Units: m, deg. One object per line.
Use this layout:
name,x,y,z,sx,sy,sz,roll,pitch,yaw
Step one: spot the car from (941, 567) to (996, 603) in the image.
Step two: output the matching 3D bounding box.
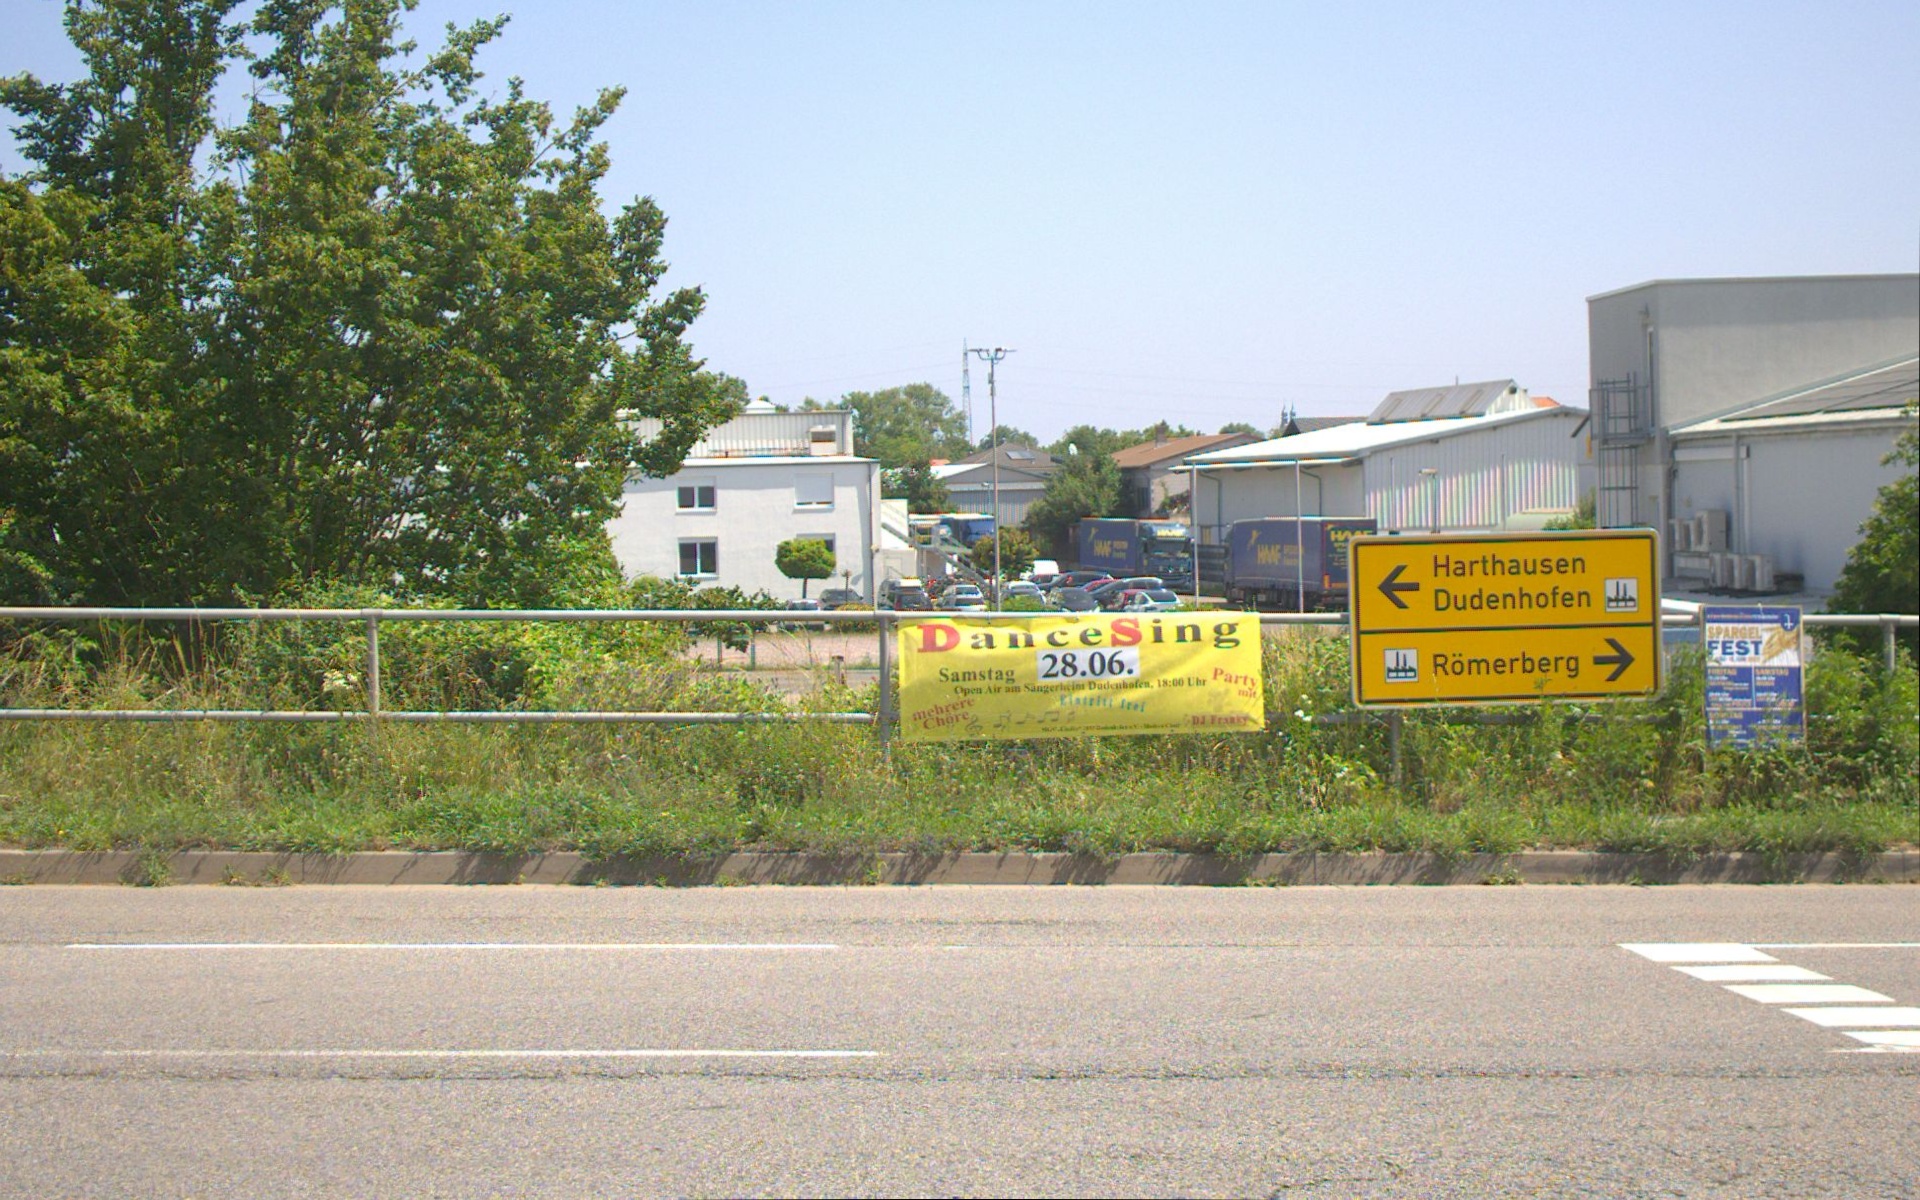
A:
car,0.417,-0.788,173.467,1.993,1.725,4.865,0,1,-9

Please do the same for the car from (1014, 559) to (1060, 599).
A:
car,4.032,-1.113,179.800,1.716,2.007,4.001,0,1,-9

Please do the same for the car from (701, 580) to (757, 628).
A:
car,-10.244,0.156,152.241,1.993,2.007,4.865,0,1,-10

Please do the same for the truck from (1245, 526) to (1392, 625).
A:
truck,16.187,-1.199,156.625,3.707,4.296,13.345,0,1,-7

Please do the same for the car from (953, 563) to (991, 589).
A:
car,0.625,-1.299,182.454,1.450,1.346,3.317,0,1,-10

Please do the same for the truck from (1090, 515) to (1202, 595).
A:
truck,10.192,-2.538,190.679,3.411,4.296,14.597,0,1,-8

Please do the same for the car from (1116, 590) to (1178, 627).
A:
car,7.572,0.333,139.470,1.683,1.358,3.837,-3,2,-9
